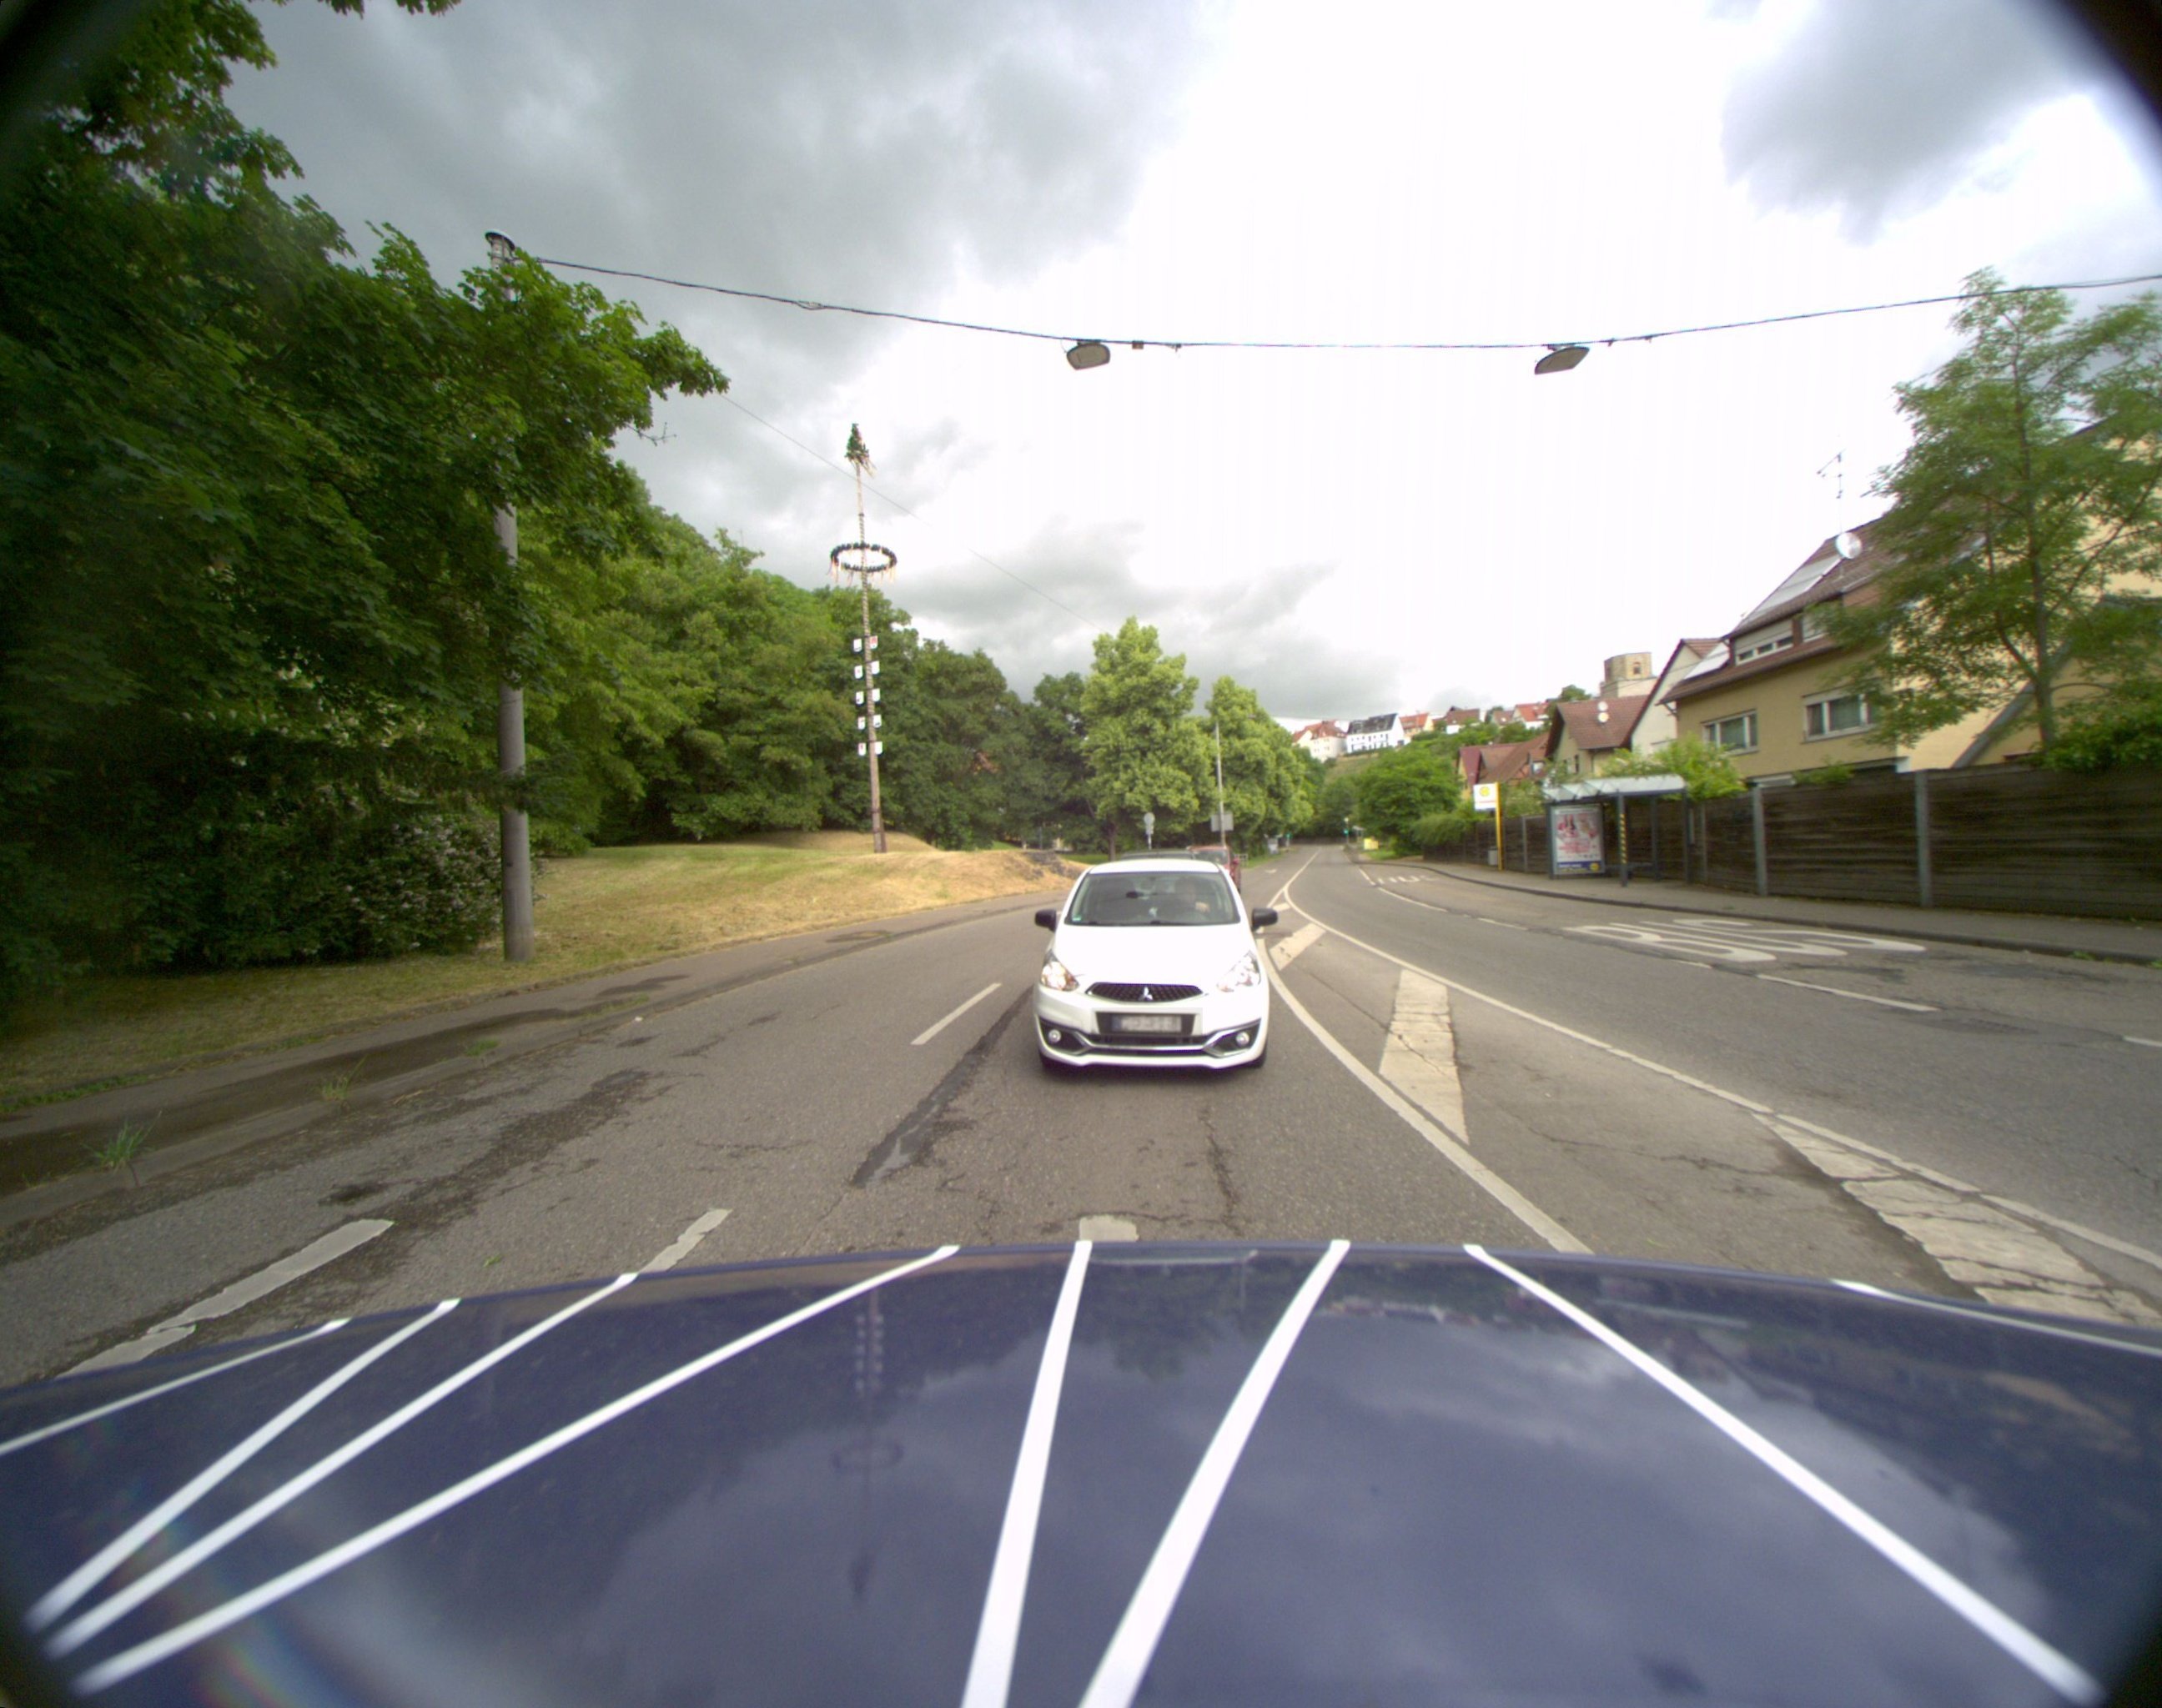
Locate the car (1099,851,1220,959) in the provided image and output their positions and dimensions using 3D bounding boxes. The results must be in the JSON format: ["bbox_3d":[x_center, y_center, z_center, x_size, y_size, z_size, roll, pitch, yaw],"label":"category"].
[{"bbox_3d":[1.511,0.779,13.309,1.723,1.539,3.784,-2,1,11],"label":"car"}]

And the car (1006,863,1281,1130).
[{"bbox_3d":[0.640,0.904,6.429,1.617,1.505,3.607,-2,1,9],"label":"car"}]

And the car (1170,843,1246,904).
[{"bbox_3d":[4.047,0.539,23.757,1.826,1.662,4.062,-2,1,16],"label":"car"}]
